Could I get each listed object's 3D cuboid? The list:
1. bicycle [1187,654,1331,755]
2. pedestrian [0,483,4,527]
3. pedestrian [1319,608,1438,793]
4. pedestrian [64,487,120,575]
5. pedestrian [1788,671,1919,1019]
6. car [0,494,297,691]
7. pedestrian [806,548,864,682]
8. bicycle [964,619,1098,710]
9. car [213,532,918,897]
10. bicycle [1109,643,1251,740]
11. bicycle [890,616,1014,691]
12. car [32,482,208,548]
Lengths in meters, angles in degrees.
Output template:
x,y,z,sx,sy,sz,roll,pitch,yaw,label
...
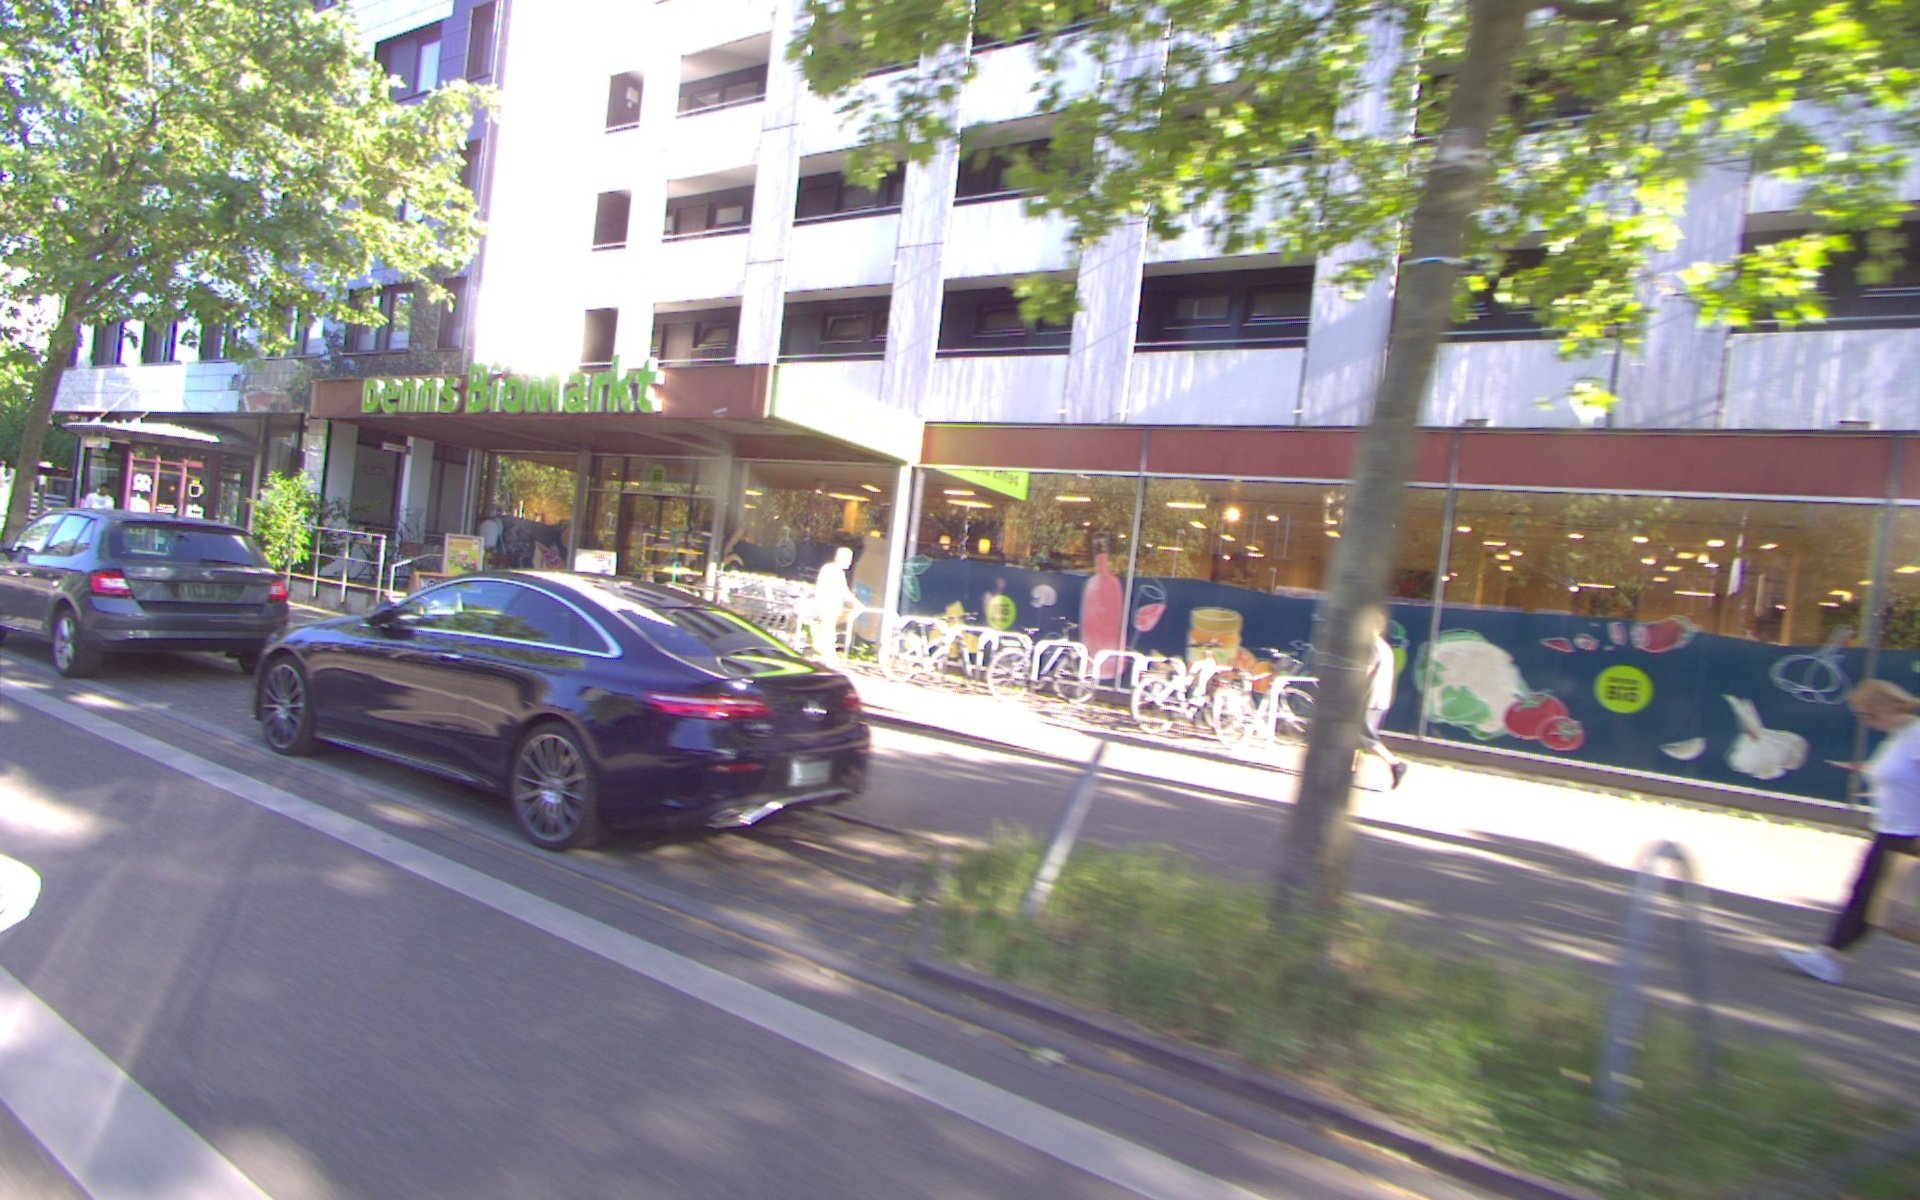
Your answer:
x,y,z,sx,sy,sz,roll,pitch,yaw,label
3.573,1.246,11.979,1.686,1.070,0.581,4,3,-32,bicycle
-19.330,-1.488,19.678,1.034,1.726,0.560,6,1,31,pedestrian
4.179,0.973,10.048,0.867,1.701,0.557,6,3,31,pedestrian
-18.543,-1.479,21.498,0.864,1.766,0.560,7,1,31,pedestrian
4.927,1.234,5.138,0.854,1.634,0.697,7,3,34,pedestrian
-8.524,-0.134,10.075,3.934,1.569,1.567,6,-1,32,car
-1.712,0.190,13.818,0.602,1.739,0.612,6,4,-6,pedestrian
0.977,0.891,13.663,1.686,1.070,0.580,5,4,-32,bicycle
-2.747,0.523,6.612,4.622,1.435,1.764,6,-1,31,car
2.725,1.138,12.425,1.686,1.070,0.580,5,3,-32,bicycle
-0.105,0.777,14.510,1.634,0.929,0.580,5,5,-32,bicycle
-32.601,-3.269,39.203,1.881,2.011,4.897,6,2,32,car
